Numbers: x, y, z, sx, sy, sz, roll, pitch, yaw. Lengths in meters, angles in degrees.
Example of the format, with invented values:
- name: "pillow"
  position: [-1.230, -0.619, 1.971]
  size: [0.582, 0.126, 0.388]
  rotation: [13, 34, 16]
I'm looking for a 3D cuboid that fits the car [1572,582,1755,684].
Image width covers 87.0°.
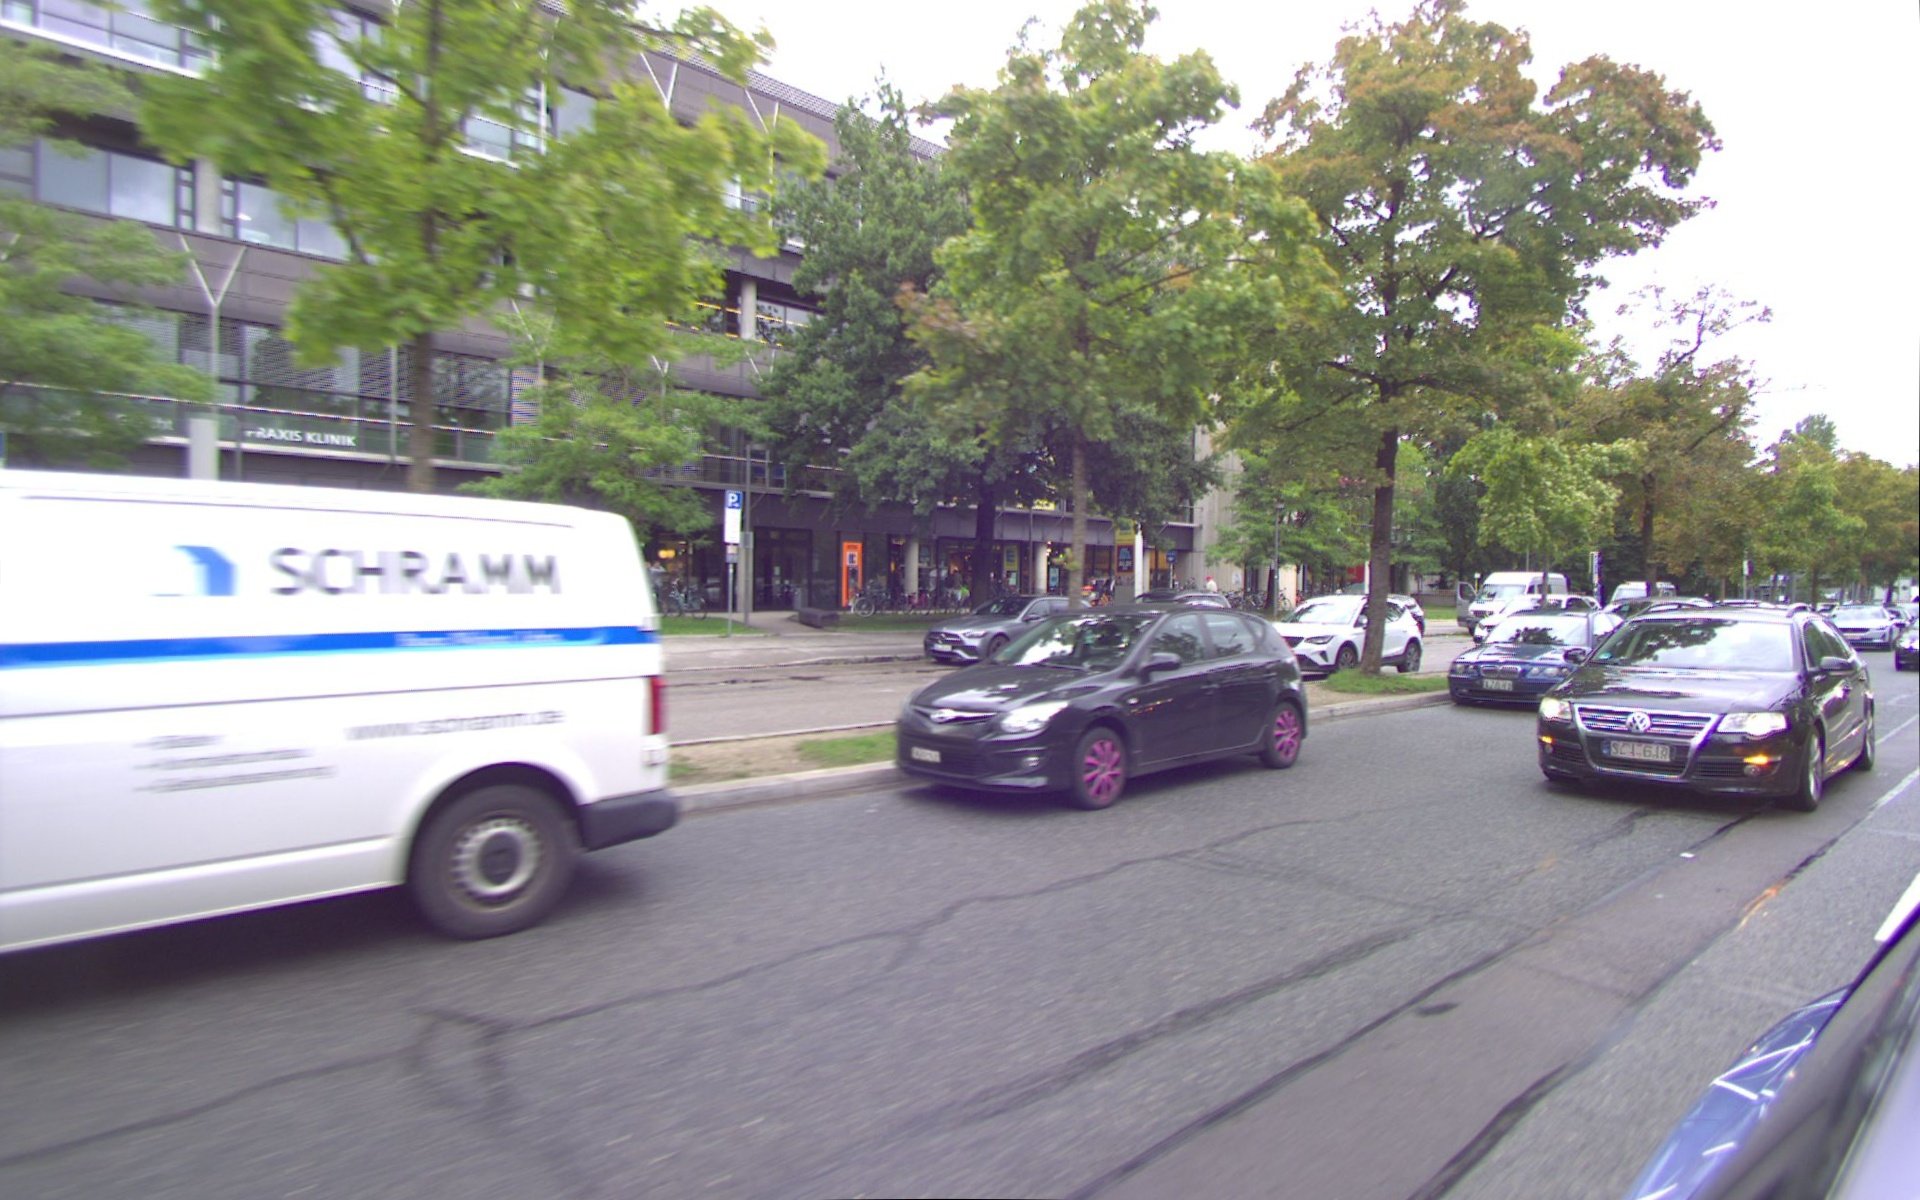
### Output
- name: "car"
  position: [12.986, 0.560, 18.573]
  size: [4.386, 1.662, 1.684]
  rotation: [0, -2, -41]

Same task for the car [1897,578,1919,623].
- name: "car"
  position: [60.437, 0.043, 61.338]
  size: [5.884, 2.691, 1.982]
  rotation: [0, 0, -7]

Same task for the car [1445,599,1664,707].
- name: "car"
  position: [8.885, 0.684, 14.995]
  size: [4.011, 1.392, 1.684]
  rotation: [0, 0, -42]

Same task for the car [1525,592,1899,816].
- name: "car"
  position: [6.596, 0.671, 8.680]
  size: [4.365, 1.451, 1.733]
  rotation: [0, 0, -42]

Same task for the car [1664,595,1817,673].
- name: "car"
  position: [17.032, 0.686, 22.016]
  size: [4.385, 1.542, 1.685]
  rotation: [0, -2, -40]

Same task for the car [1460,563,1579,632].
- name: "car"
  position: [22.419, -0.133, 40.450]
  size: [5.755, 2.560, 2.267]
  rotation: [0, 1, -41]

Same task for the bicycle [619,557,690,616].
- name: "bicycle"
  position: [-8.894, -0.405, 29.397]
  size: [2.298, 1.643, 0.642]
  rotation: [1, 1, 33]

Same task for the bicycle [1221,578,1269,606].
- name: "bicycle"
  position: [13.881, -0.392, 49.370]
  size: [0.637, 1.318, 2.313]
  rotation: [0, 1, -38]

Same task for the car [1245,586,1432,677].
- name: "car"
  position: [7.148, 0.530, 18.953]
  size: [3.809, 1.538, 1.653]
  rotation: [0, 0, -41]

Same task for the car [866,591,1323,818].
- name: "car"
  position: [1.295, 0.676, 8.525]
  size: [3.973, 1.467, 1.698]
  rotation: [0, 0, -43]

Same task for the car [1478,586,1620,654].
- name: "car"
  position: [15.319, 0.465, 26.220]
  size: [4.792, 1.611, 1.824]
  rotation: [0, 0, -42]

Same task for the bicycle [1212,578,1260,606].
- name: "bicycle"
  position: [13.298, -0.383, 48.881]
  size: [0.637, 1.318, 2.313]
  rotation: [0, 1, -38]

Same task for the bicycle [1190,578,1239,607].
- name: "bicycle"
  position: [11.993, -0.370, 47.743]
  size: [0.637, 1.318, 2.313]
  rotation: [0, 1, -38]

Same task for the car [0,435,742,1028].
- name: "car"
  position: [-3.535, 0.433, 4.270]
  size: [4.848, 1.952, 1.883]
  rotation: [0, 0, -42]

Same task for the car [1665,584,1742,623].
- name: "car"
  position: [42.661, 0.163, 58.014]
  size: [5.755, 2.130, 2.267]
  rotation: [0, 1, -41]

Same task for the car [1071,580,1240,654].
- name: "car"
  position: [4.941, 0.363, 25.248]
  size: [4.422, 1.654, 1.825]
  rotation: [0, 2, -42]

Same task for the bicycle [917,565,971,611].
- name: "bicycle"
  position: [-0.609, -0.442, 37.190]
  size: [0.638, 1.643, 2.312]
  rotation: [0, 1, -40]

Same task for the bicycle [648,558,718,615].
- name: "bicycle"
  position: [-8.196, -0.419, 29.932]
  size: [2.298, 1.643, 0.642]
  rotation: [1, 1, 33]

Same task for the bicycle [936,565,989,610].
- name: "bicycle"
  position: [0.077, -0.470, 37.751]
  size: [0.638, 1.643, 2.312]
  rotation: [0, 1, -40]

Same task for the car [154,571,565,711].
- name: "car"
  position: [-7.890, 0.439, 13.549]
  size: [4.519, 1.550, 1.826]
  rotation: [0, 2, -39]

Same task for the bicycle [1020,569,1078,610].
- name: "bicycle"
  position: [3.611, -0.443, 41.045]
  size: [2.299, 1.643, 0.641]
  rotation: [1, 1, 34]

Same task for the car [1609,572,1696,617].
- name: "car"
  position: [35.341, -0.288, 51.584]
  size: [5.755, 2.130, 2.267]
  rotation: [0, 1, -41]

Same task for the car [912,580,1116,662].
- name: "car"
  position: [1.268, 0.414, 21.986]
  size: [4.526, 1.550, 1.823]
  rotation: [1, 2, -45]

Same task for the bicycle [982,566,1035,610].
- name: "bicycle"
  position: [1.847, -0.479, 38.935]
  size: [0.638, 1.643, 2.312]
  rotation: [0, 1, -40]

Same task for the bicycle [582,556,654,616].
- name: "bicycle"
  position: [-9.668, -0.401, 28.547]
  size: [2.298, 1.643, 0.642]
  rotation: [1, 1, 33]

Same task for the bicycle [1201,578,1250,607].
- name: "bicycle"
  position: [12.675, -0.376, 48.327]
  size: [0.664, 1.318, 2.313]
  rotation: [0, 1, -39]

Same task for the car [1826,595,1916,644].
- name: "car"
  position: [29.912, 0.596, 33.188]
  size: [4.365, 1.526, 1.733]
  rotation: [0, 0, -42]

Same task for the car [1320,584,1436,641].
- name: "car"
  position: [13.436, 0.363, 32.421]
  size: [4.270, 1.654, 1.861]
  rotation: [0, 2, -44]

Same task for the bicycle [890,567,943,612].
- name: "bicycle"
  position: [-1.596, -0.401, 36.568]
  size: [0.638, 1.551, 2.312]
  rotation: [0, 1, -40]

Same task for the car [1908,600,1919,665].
- name: "car"
  position: [23.155, 0.710, 23.162]
  size: [4.385, 1.431, 1.761]
  rotation: [0, 0, -42]

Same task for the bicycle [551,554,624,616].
- name: "bicycle"
  position: [-10.272, -0.426, 27.852]
  size: [2.298, 1.643, 0.642]
  rotation: [1, 1, 33]

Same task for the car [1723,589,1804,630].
- name: "car"
  position: [31.943, 0.367, 40.202]
  size: [3.983, 1.562, 1.825]
  rotation: [0, 0, -41]

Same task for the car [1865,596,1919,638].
- name: "car"
  position: [34.406, 0.590, 36.828]
  size: [4.365, 1.451, 1.733]
  rotation: [0, 0, -42]

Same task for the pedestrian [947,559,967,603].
- name: "pedestrian"
  position: [-0.123, -0.813, 43.082]
  size: [0.715, 1.827, 0.669]
  rotation: [2, 2, -7]

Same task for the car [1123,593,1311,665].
- name: "car"
  position: [5.558, 0.558, 21.668]
  size: [4.274, 1.397, 1.725]
  rotation: [0, 0, -40]
